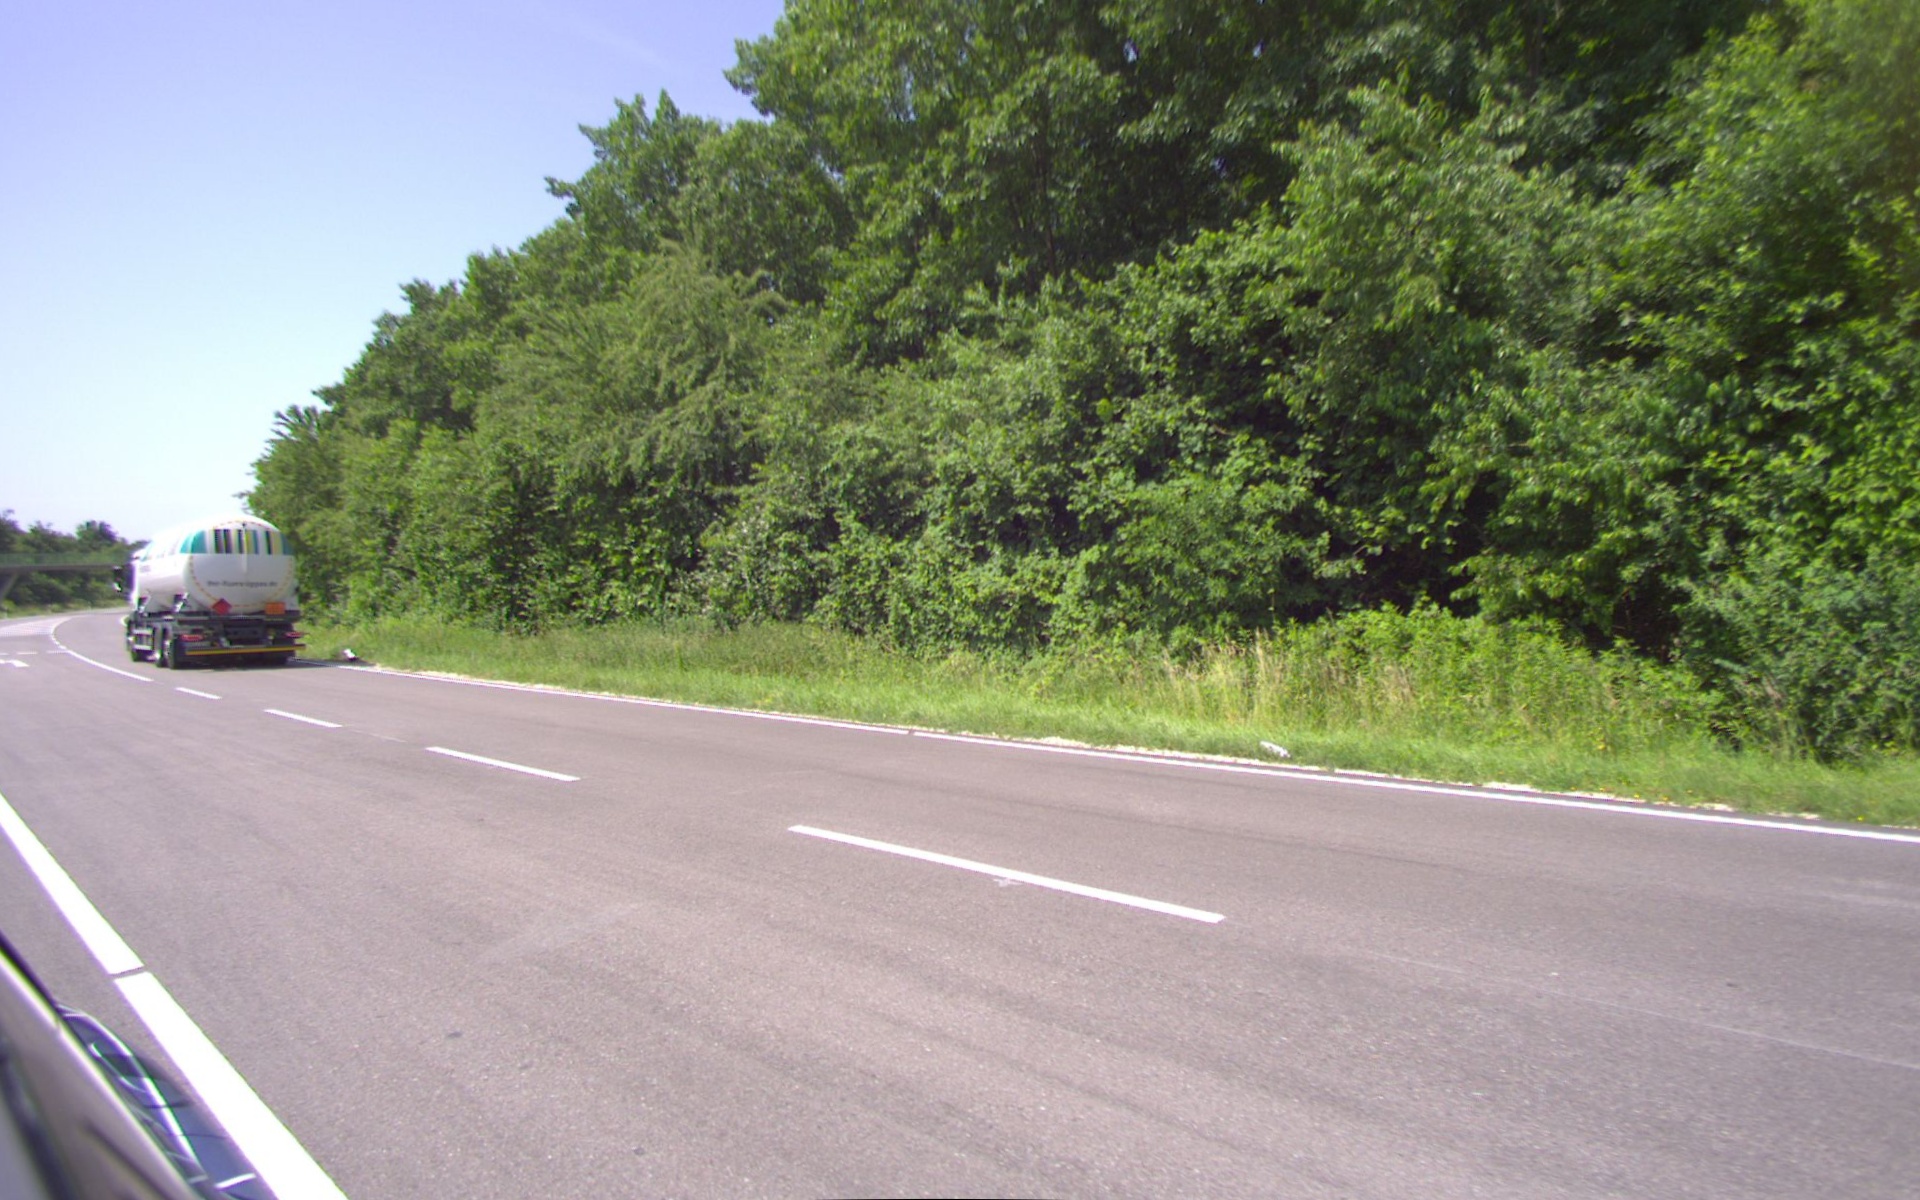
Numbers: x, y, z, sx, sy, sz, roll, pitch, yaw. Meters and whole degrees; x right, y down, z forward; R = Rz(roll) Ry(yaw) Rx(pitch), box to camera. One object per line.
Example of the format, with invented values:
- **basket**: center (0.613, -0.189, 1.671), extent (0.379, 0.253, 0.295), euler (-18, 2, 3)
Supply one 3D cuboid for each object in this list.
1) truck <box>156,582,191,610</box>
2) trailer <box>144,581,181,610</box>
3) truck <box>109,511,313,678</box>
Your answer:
- **truck**: center (-121.630, -0.662, 156.635), extent (2.759, 4.126, 11.097), euler (-1, 1, -30)
- **trailer**: center (-117.194, -0.645, 148.841), extent (2.789, 4.126, 9.029), euler (-1, 1, -29)
- **truck**: center (-19.710, -0.113, 26.351), extent (8.795, 3.698, 2.599), euler (-1, 0, 42)
